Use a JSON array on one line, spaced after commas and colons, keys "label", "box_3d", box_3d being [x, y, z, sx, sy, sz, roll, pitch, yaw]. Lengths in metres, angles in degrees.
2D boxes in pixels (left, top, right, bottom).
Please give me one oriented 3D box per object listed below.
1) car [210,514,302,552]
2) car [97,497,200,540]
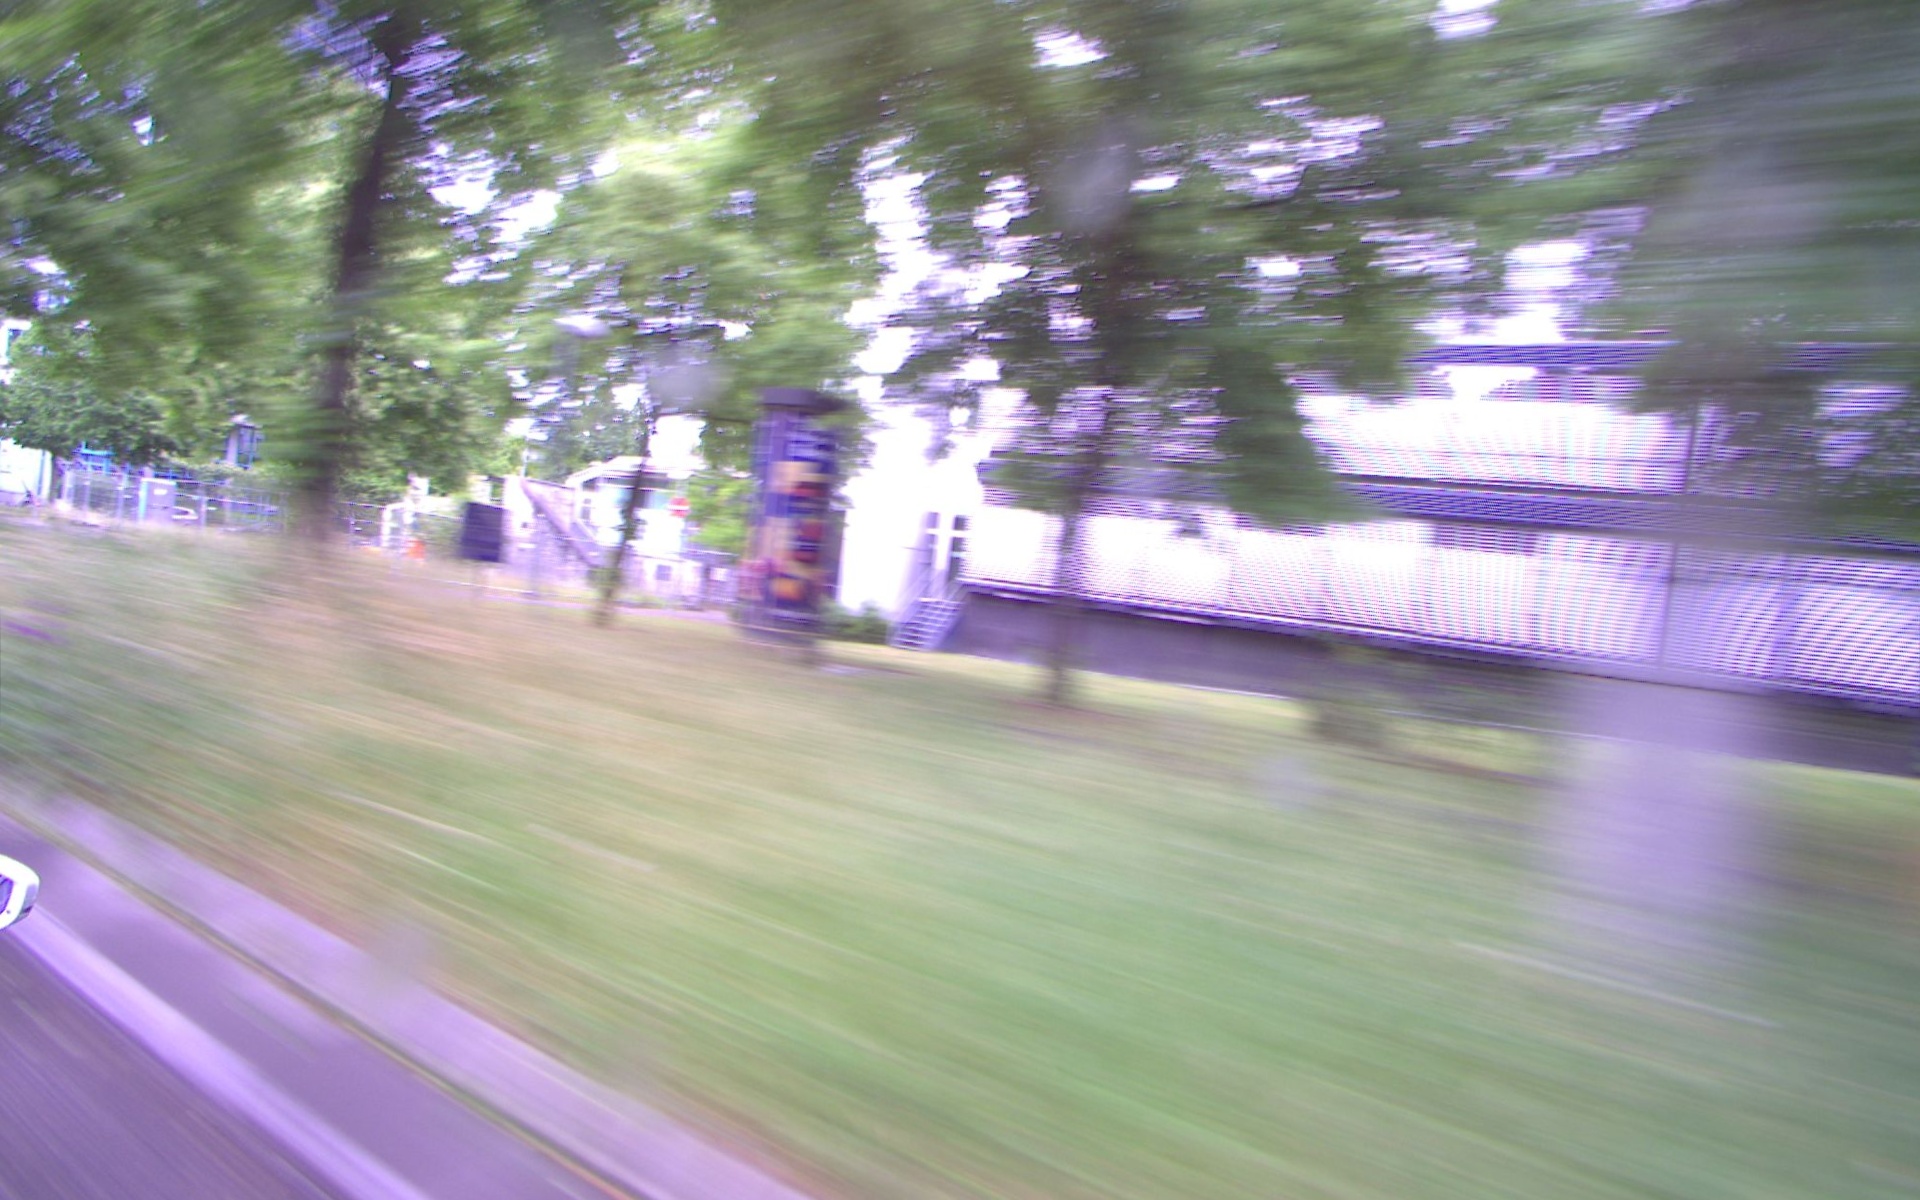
[{"label": "car", "box_3d": [-42.199, -4.008, 60.357, 1.730, 1.598, 4.097, 10, 1, 36]}, {"label": "car", "box_3d": [-45.109, -4.502, 55.988, 1.730, 1.662, 4.097, 10, 1, 36]}]
